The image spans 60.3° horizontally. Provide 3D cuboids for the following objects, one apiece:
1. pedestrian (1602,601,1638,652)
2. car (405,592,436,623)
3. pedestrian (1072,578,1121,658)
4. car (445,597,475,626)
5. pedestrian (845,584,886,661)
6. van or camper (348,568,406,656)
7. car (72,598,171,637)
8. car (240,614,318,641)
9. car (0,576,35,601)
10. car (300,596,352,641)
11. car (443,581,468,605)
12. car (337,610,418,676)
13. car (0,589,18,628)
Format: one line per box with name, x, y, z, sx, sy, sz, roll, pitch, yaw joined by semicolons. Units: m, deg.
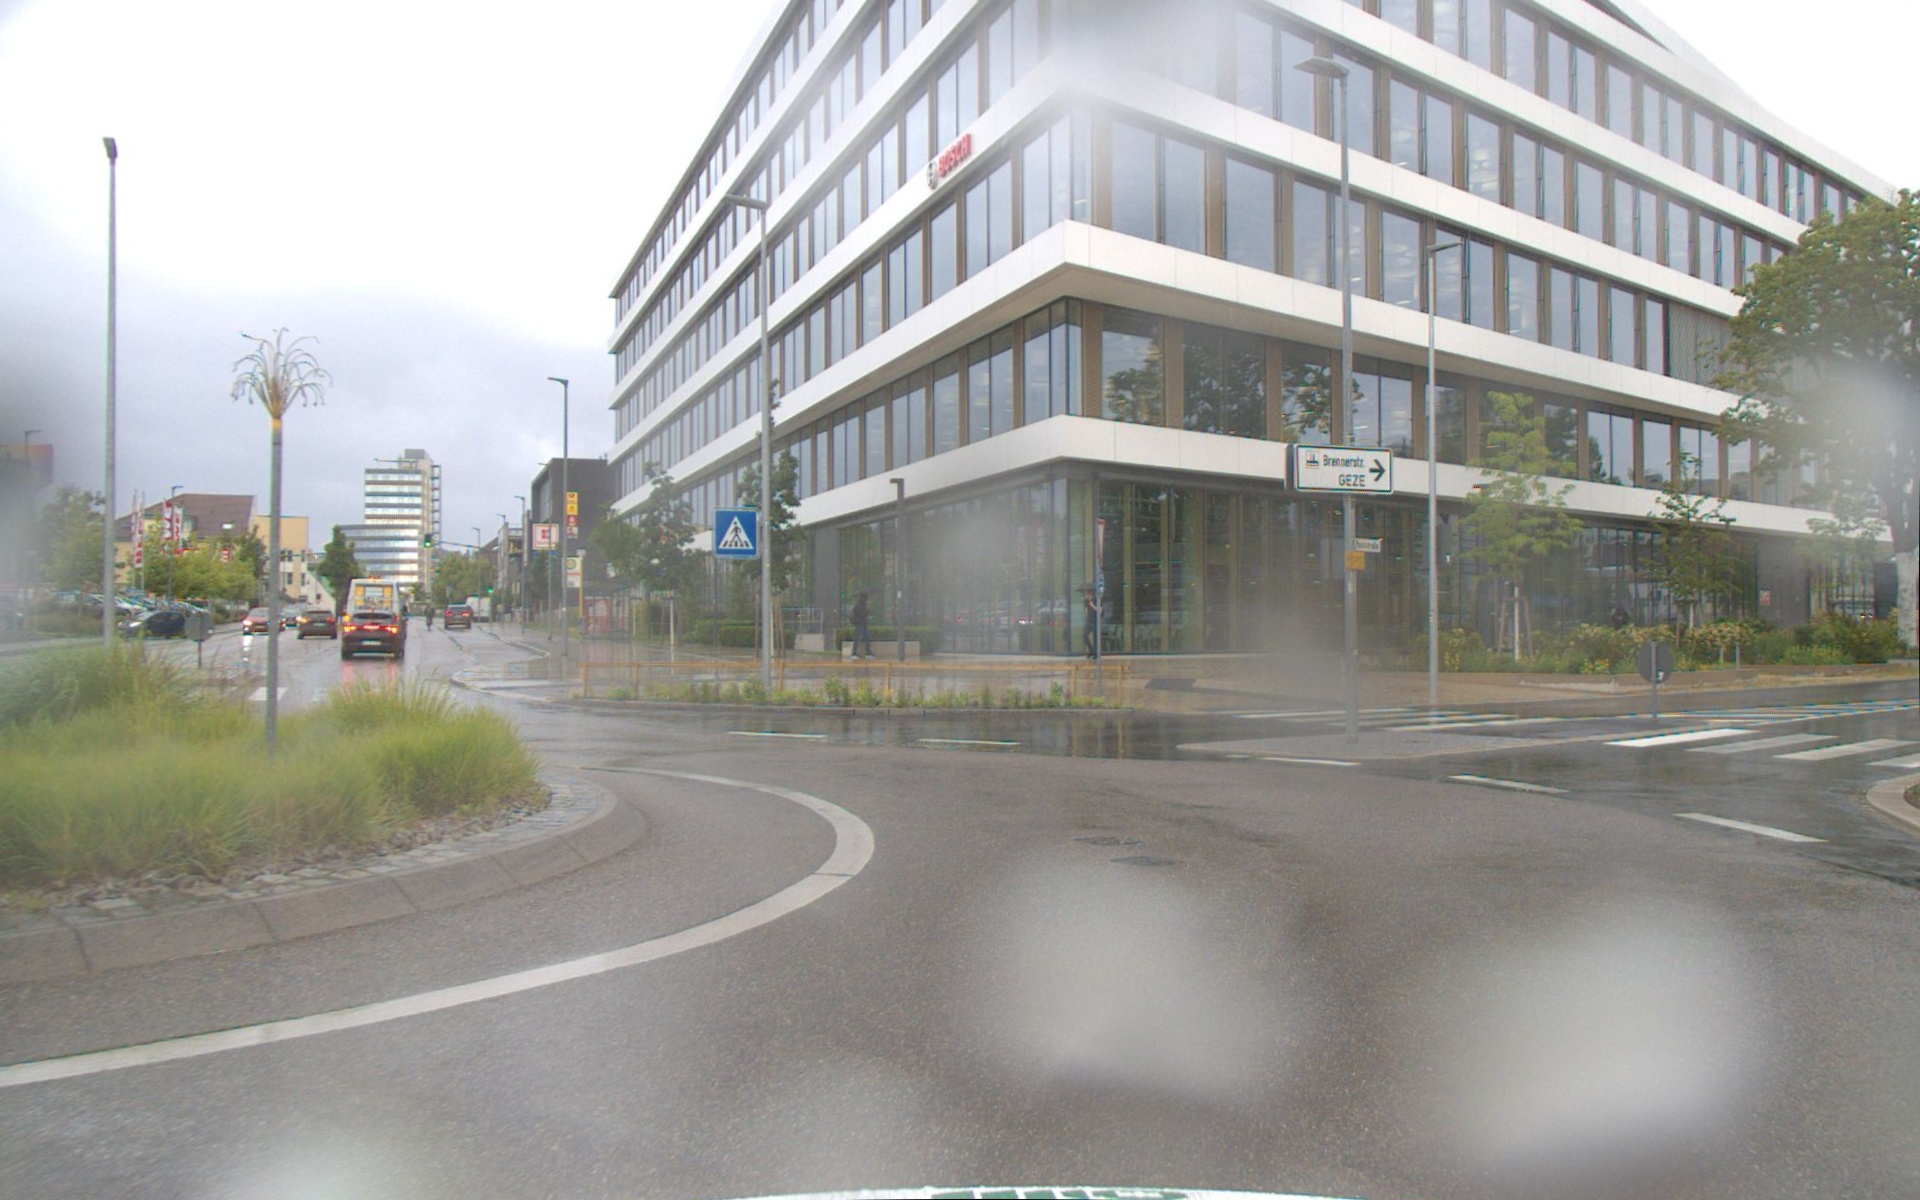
pedestrian;22.945;0.920;57.507;0.947;1.733;0.716;3;1;-39
car;-38.688;0.548;118.617;1.961;2.048;3.984;0;2;-16
pedestrian;3.536;0.451;42.873;0.878;2.049;0.925;0;-1;43
car;-36.832;0.822;121.872;1.962;1.892;3.983;3;1;-17
pedestrian;-2.697;0.639;47.116;0.986;2.183;0.927;1;0;-16
van or camper;-22.135;0.396;62.694;1.965;3.142;5.071;0;1;-21
car;-41.955;0.879;82.822;1.955;1.757;3.997;4;1;25
car;-38.383;1.527;93.351;1.952;1.422;4.002;0;0;18
car;-72.285;-0.906;124.891;3.928;1.679;1.989;3;1;-20
car;-30.751;0.896;80.339;1.962;1.892;3.983;3;1;-17
car;-44.784;-0.619;146.967;1.962;1.892;3.983;3;1;-17
car;-17.692;1.276;50.397;1.960;1.757;3.986;1;2;-15
car;-39.958;0.325;65.962;3.931;1.579;1.783;0;0;-22
